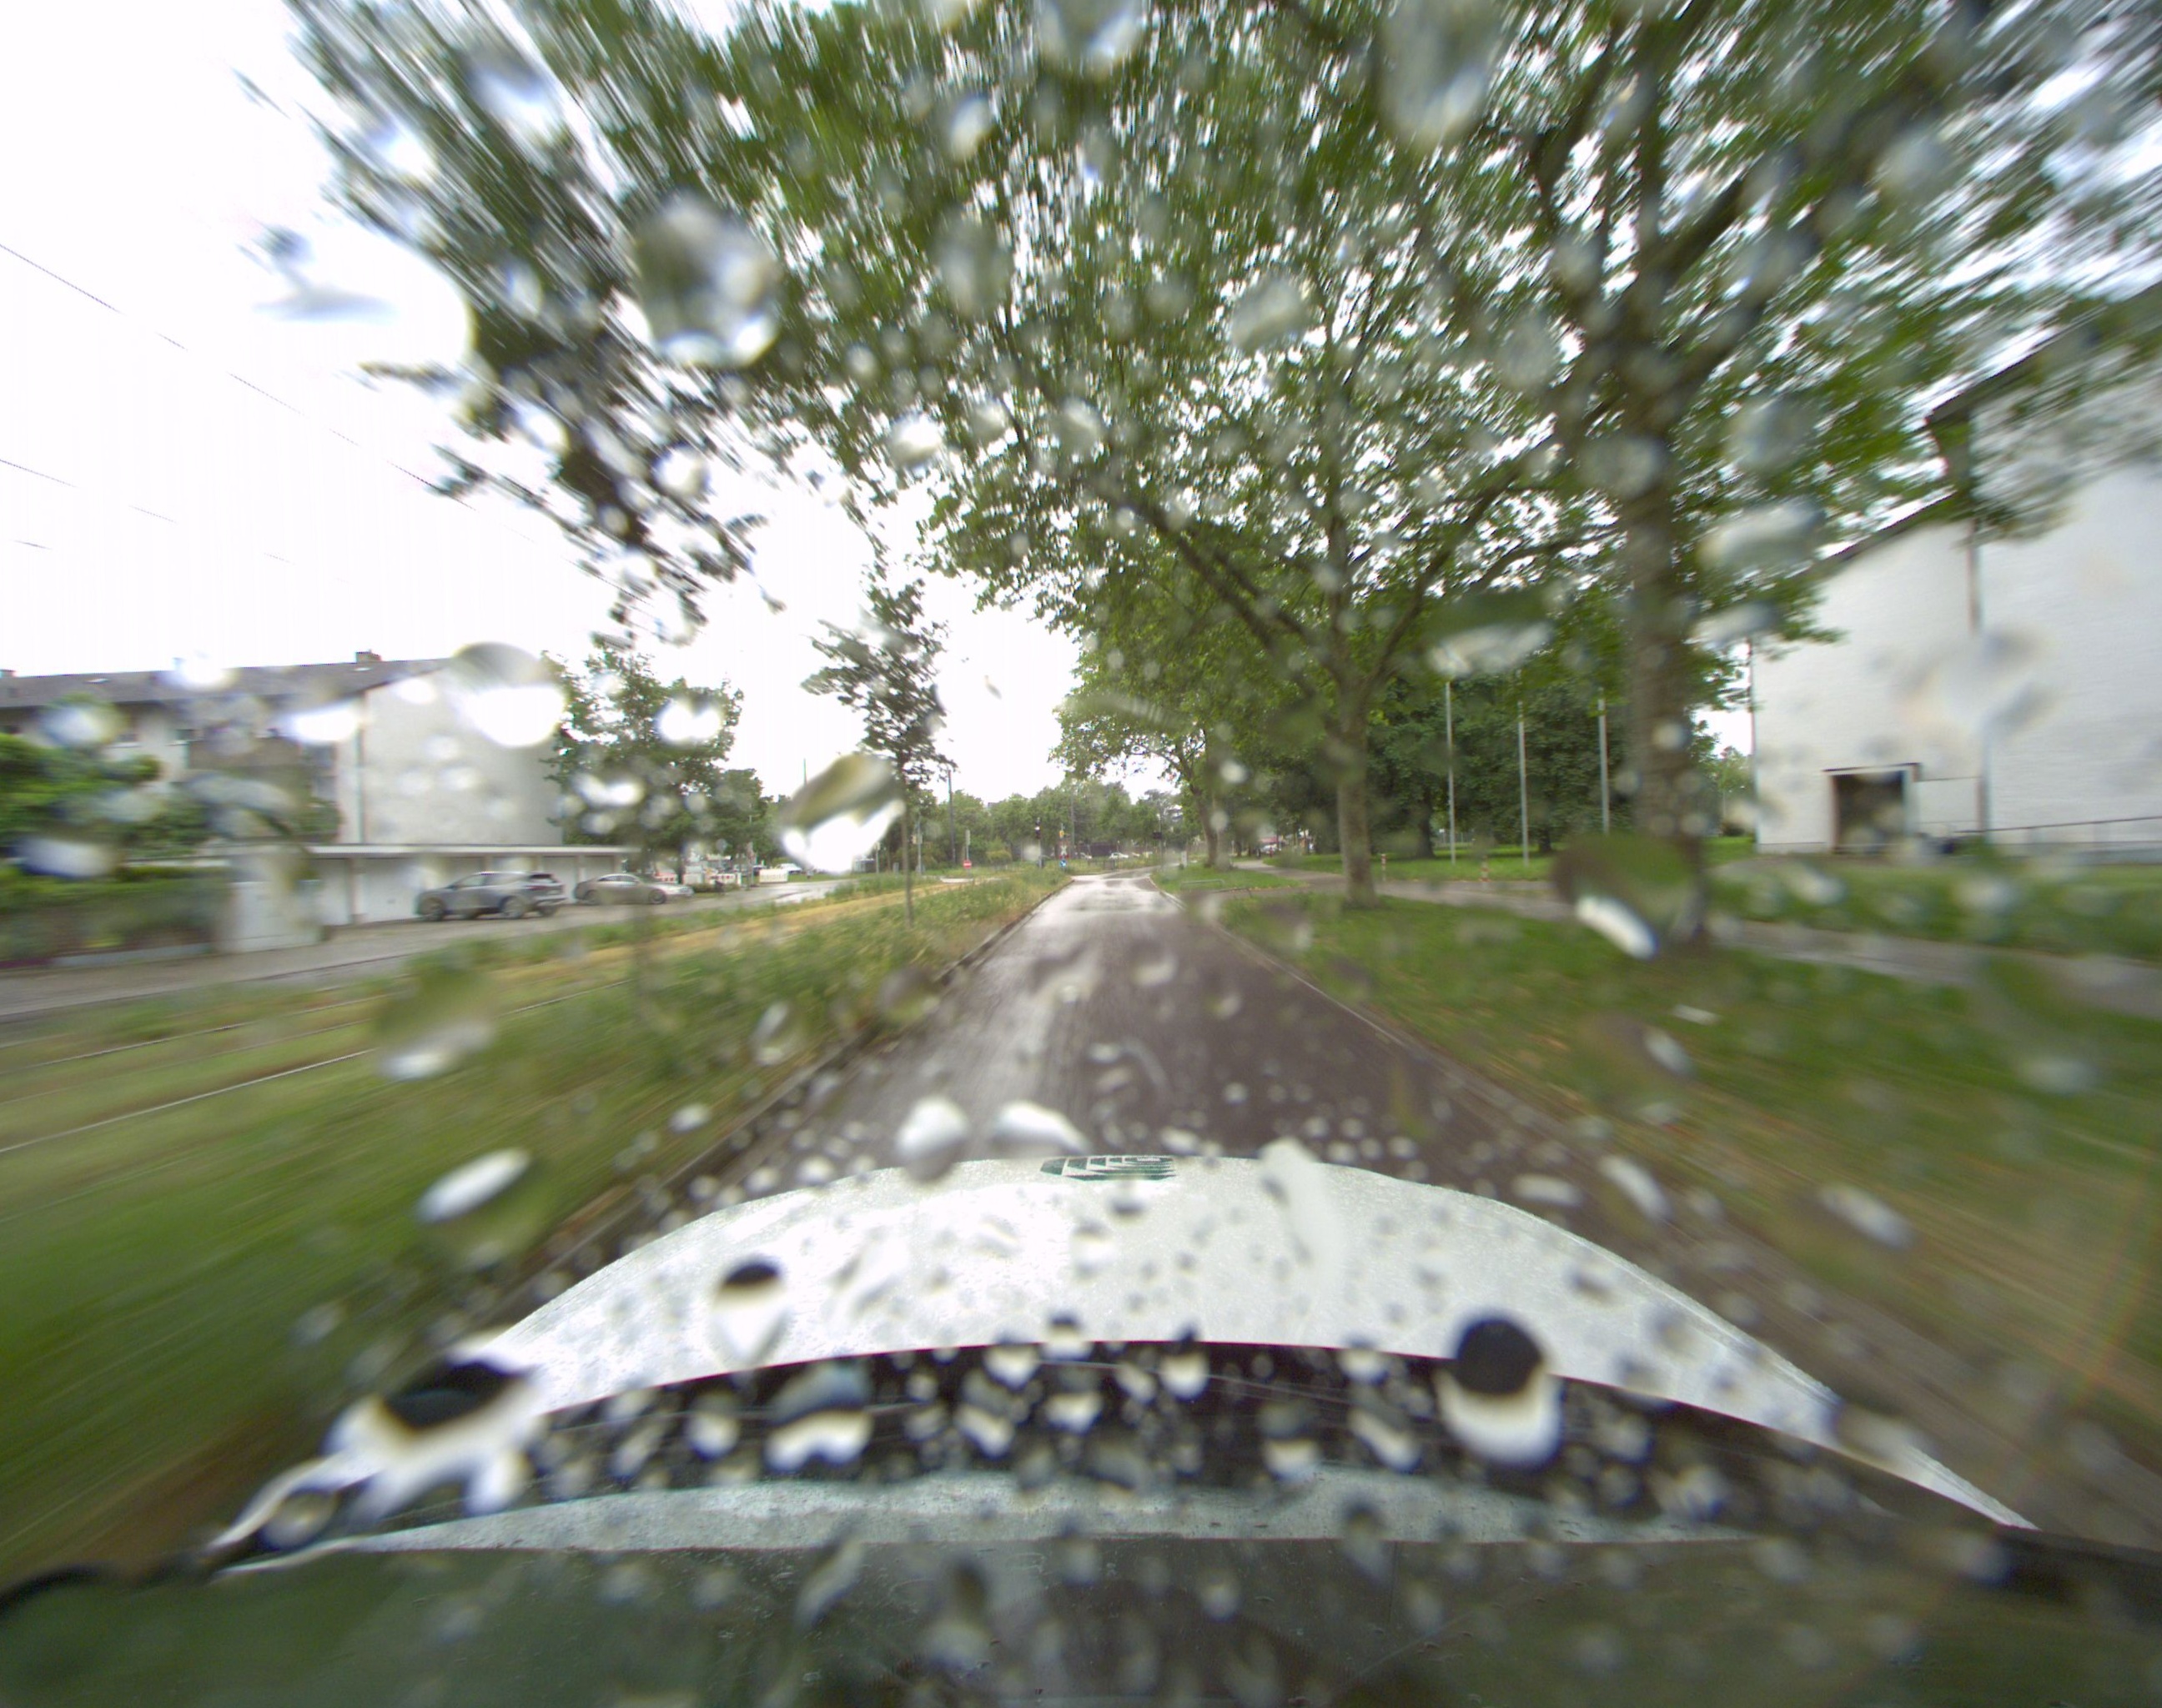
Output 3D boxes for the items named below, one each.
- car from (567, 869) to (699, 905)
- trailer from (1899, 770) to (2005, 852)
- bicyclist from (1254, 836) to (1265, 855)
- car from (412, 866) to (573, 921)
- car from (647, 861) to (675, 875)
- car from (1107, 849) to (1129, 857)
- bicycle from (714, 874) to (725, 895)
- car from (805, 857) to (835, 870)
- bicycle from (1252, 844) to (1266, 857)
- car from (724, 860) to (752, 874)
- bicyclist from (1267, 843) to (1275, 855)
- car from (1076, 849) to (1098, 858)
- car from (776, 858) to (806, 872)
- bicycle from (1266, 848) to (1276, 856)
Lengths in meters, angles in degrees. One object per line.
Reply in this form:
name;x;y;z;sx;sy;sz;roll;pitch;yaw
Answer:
car;-19.526;1.411;35.588;4.707;1.365;1.849;-1;0;2
trailer;27.323;-1.324;25.516;4.040;2.308;1.870;-3;0;-38
bicyclist;16.726;-0.781;76.421;0.704;1.721;0.963;-2;1;29
car;-19.767;1.308;27.483;3.973;1.576;1.893;-2;0;0
car;-39.191;1.306;75.892;1.673;1.249;3.700;-3;0;-37
car;7.354;-0.165;163.335;4.032;1.499;1.660;-3;0;18
bicycle;-18.428;1.536;41.532;0.482;1.019;1.828;1;0;-23
car;-27.255;1.006;84.970;1.674;1.249;3.698;-3;0;-40
bicycle;16.743;-0.312;76.425;0.704;1.142;1.984;-2;1;29
car;-33.977;1.306;80.560;1.673;1.249;3.700;-3;0;-37
bicyclist;17.705;-0.479;75.850;0.482;1.038;0.595;-3;0;29
car;1.189;-0.109;165.432;4.173;1.796;1.661;-2;1;21
car;-29.429;1.107;82.609;1.674;1.249;3.698;-3;0;-40
bicycle;17.741;-0.180;75.889;0.482;0.708;1.467;-3;1;29
